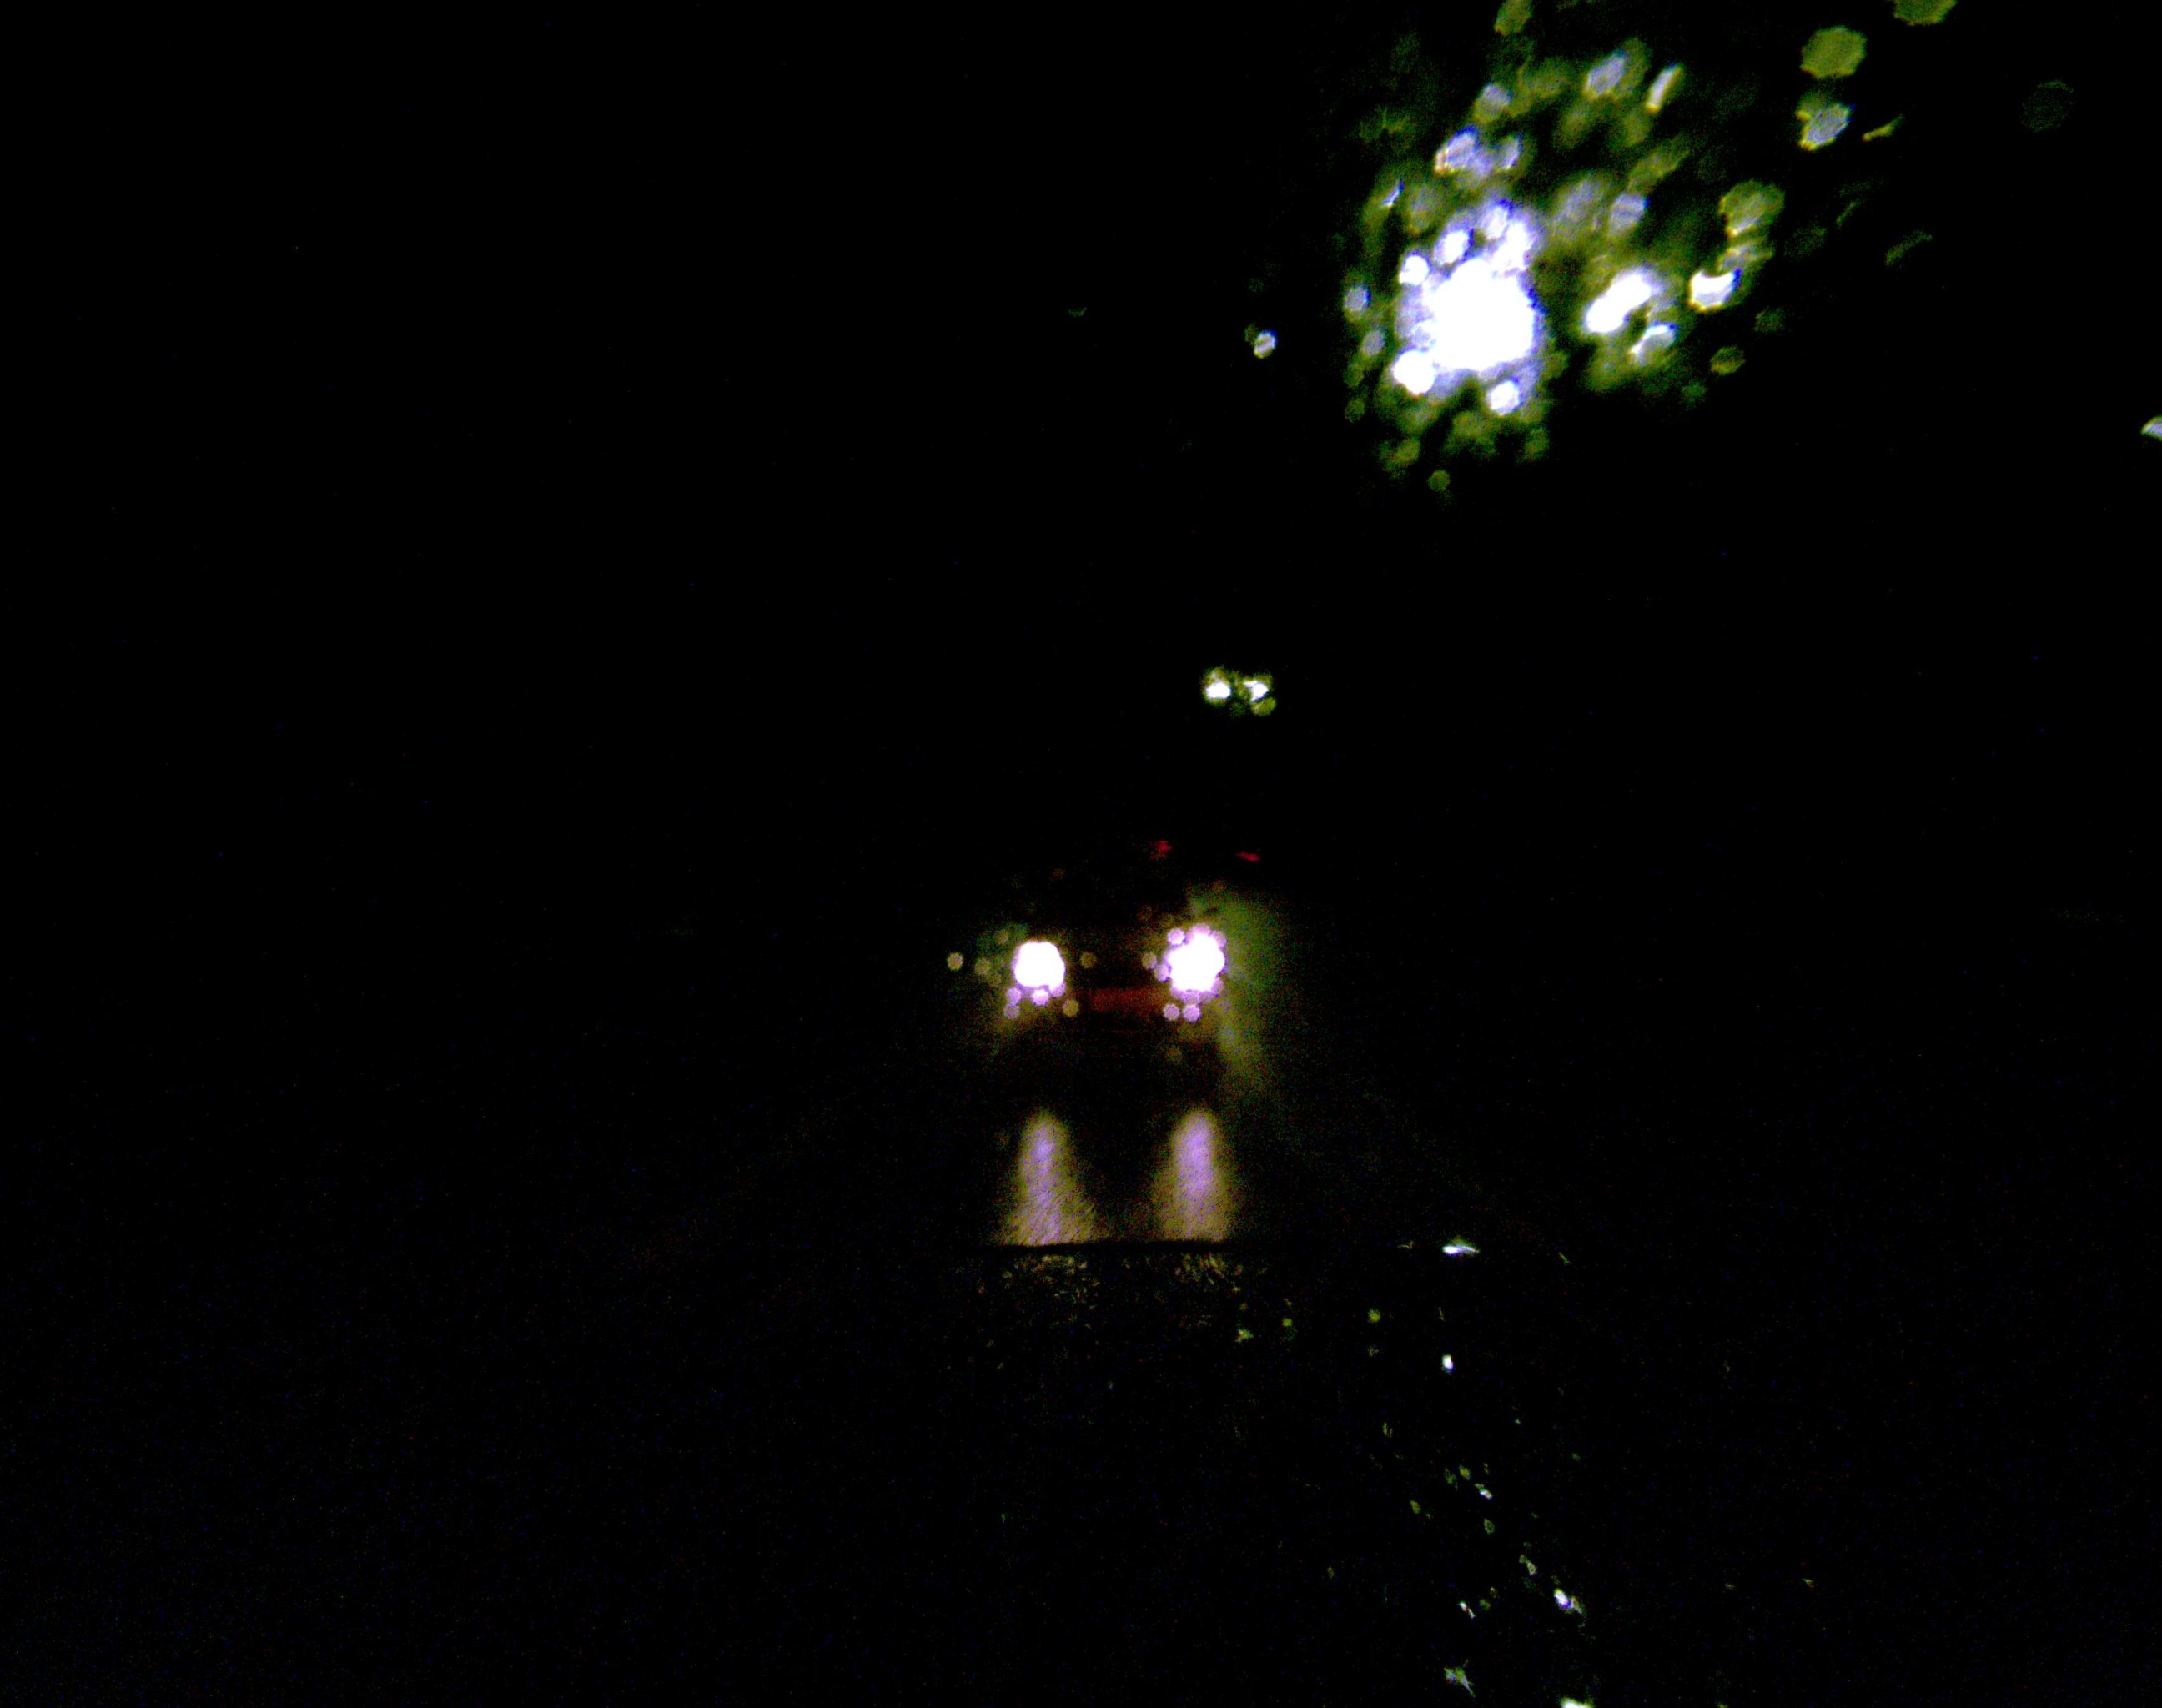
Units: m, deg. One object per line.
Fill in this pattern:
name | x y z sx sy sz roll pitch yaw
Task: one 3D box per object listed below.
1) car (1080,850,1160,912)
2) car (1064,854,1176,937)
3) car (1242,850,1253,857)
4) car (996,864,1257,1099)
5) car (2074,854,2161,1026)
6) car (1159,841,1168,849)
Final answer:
car | 1.083 0.661 21.129 1.998 1.531 4.000 -1 1 3
car | 0.803 0.749 15.647 1.998 1.455 4.000 -1 1 3
car | 36.463 -0.111 166.482 1.866 1.638 4.001 -1 1 5
car | 0.408 0.915 7.226 1.764 1.492 4.000 -1 1 3
car | 10.610 0.790 5.464 1.755 1.543 4.010 -1 1 2
car | 19.739 -2.167 182.647 1.788 1.638 4.000 -1 1 2
